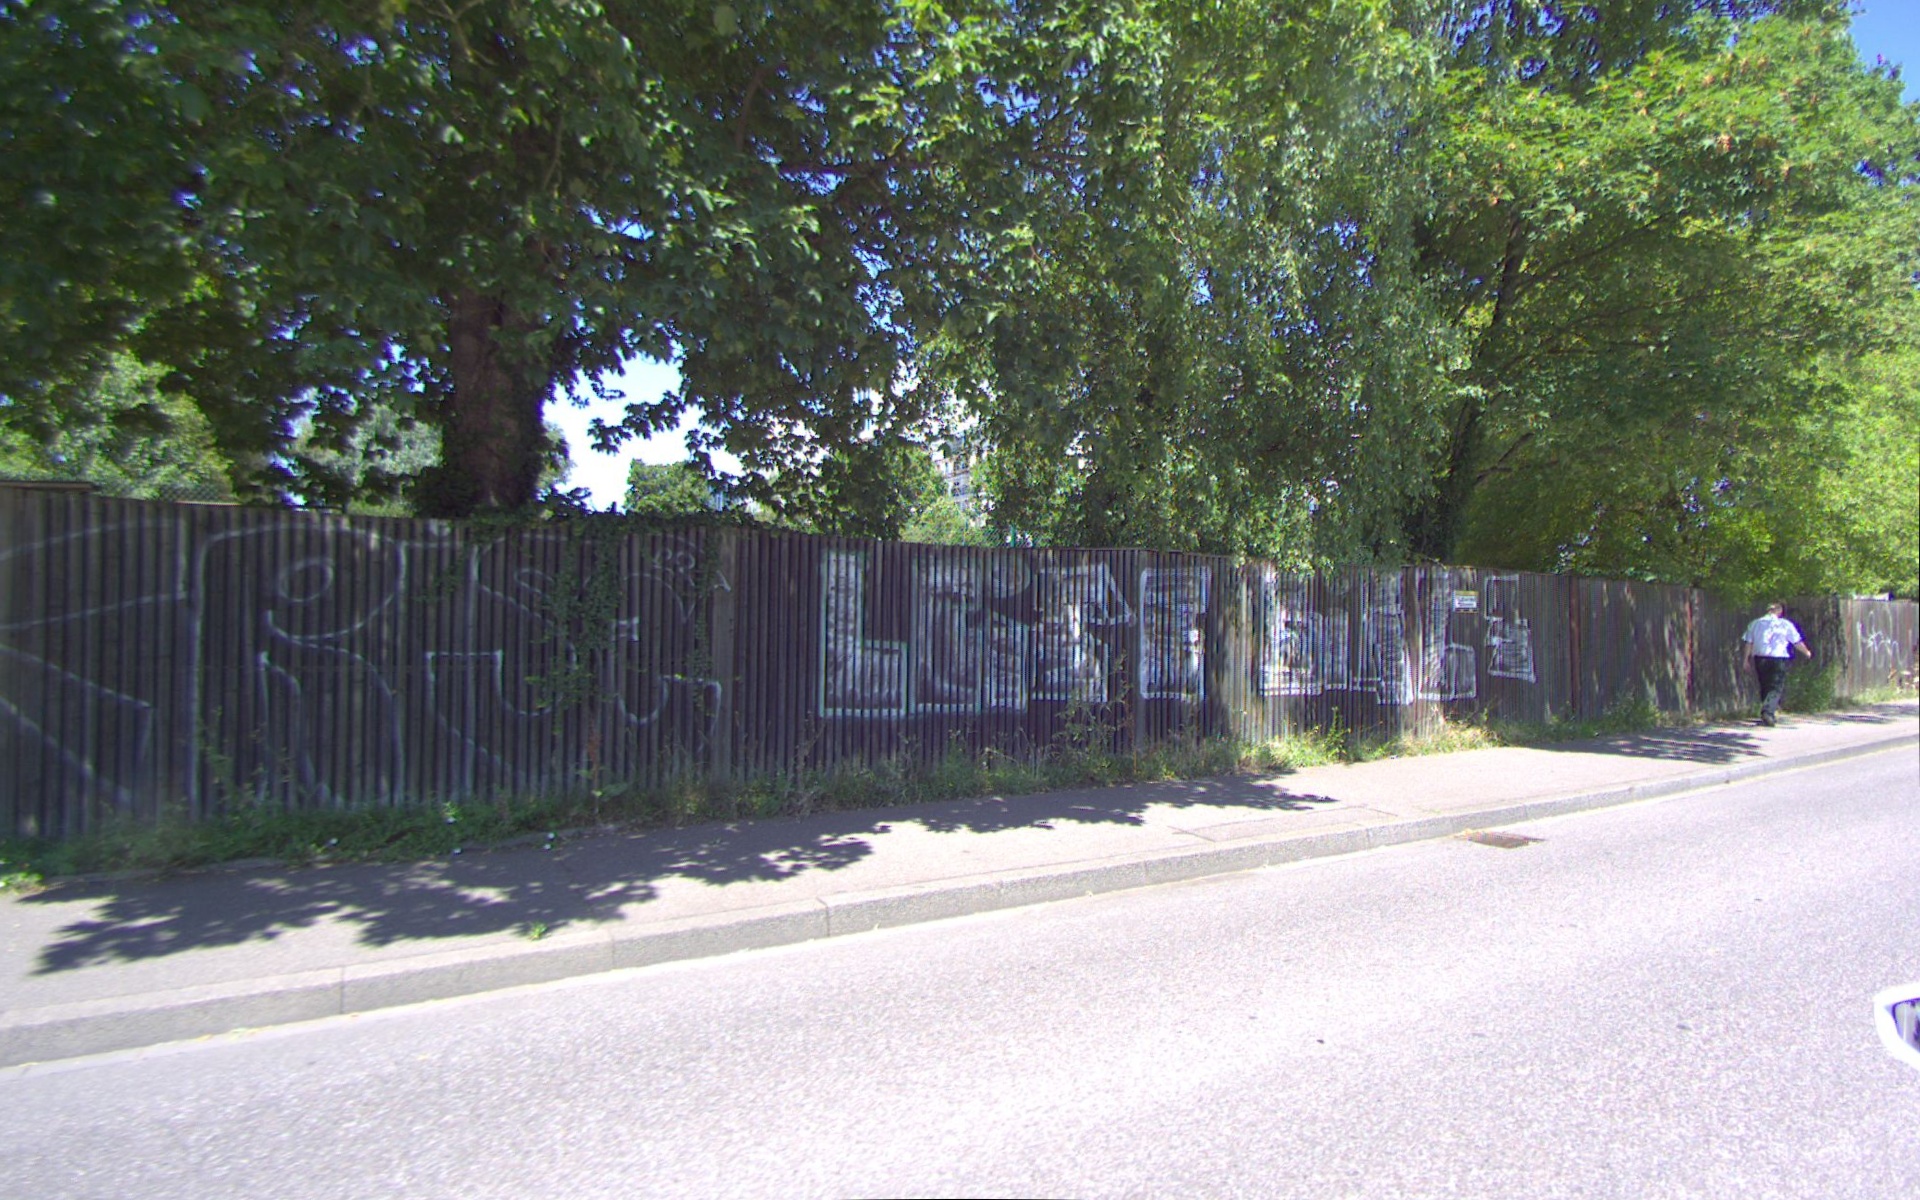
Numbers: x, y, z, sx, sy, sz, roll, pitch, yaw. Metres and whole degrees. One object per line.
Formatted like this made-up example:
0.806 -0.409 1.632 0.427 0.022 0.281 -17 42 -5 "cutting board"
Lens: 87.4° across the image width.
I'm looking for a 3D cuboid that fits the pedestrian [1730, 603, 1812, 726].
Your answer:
11.911 0.925 14.763 0.809 1.748 0.718 1 -1 -33 "pedestrian"
